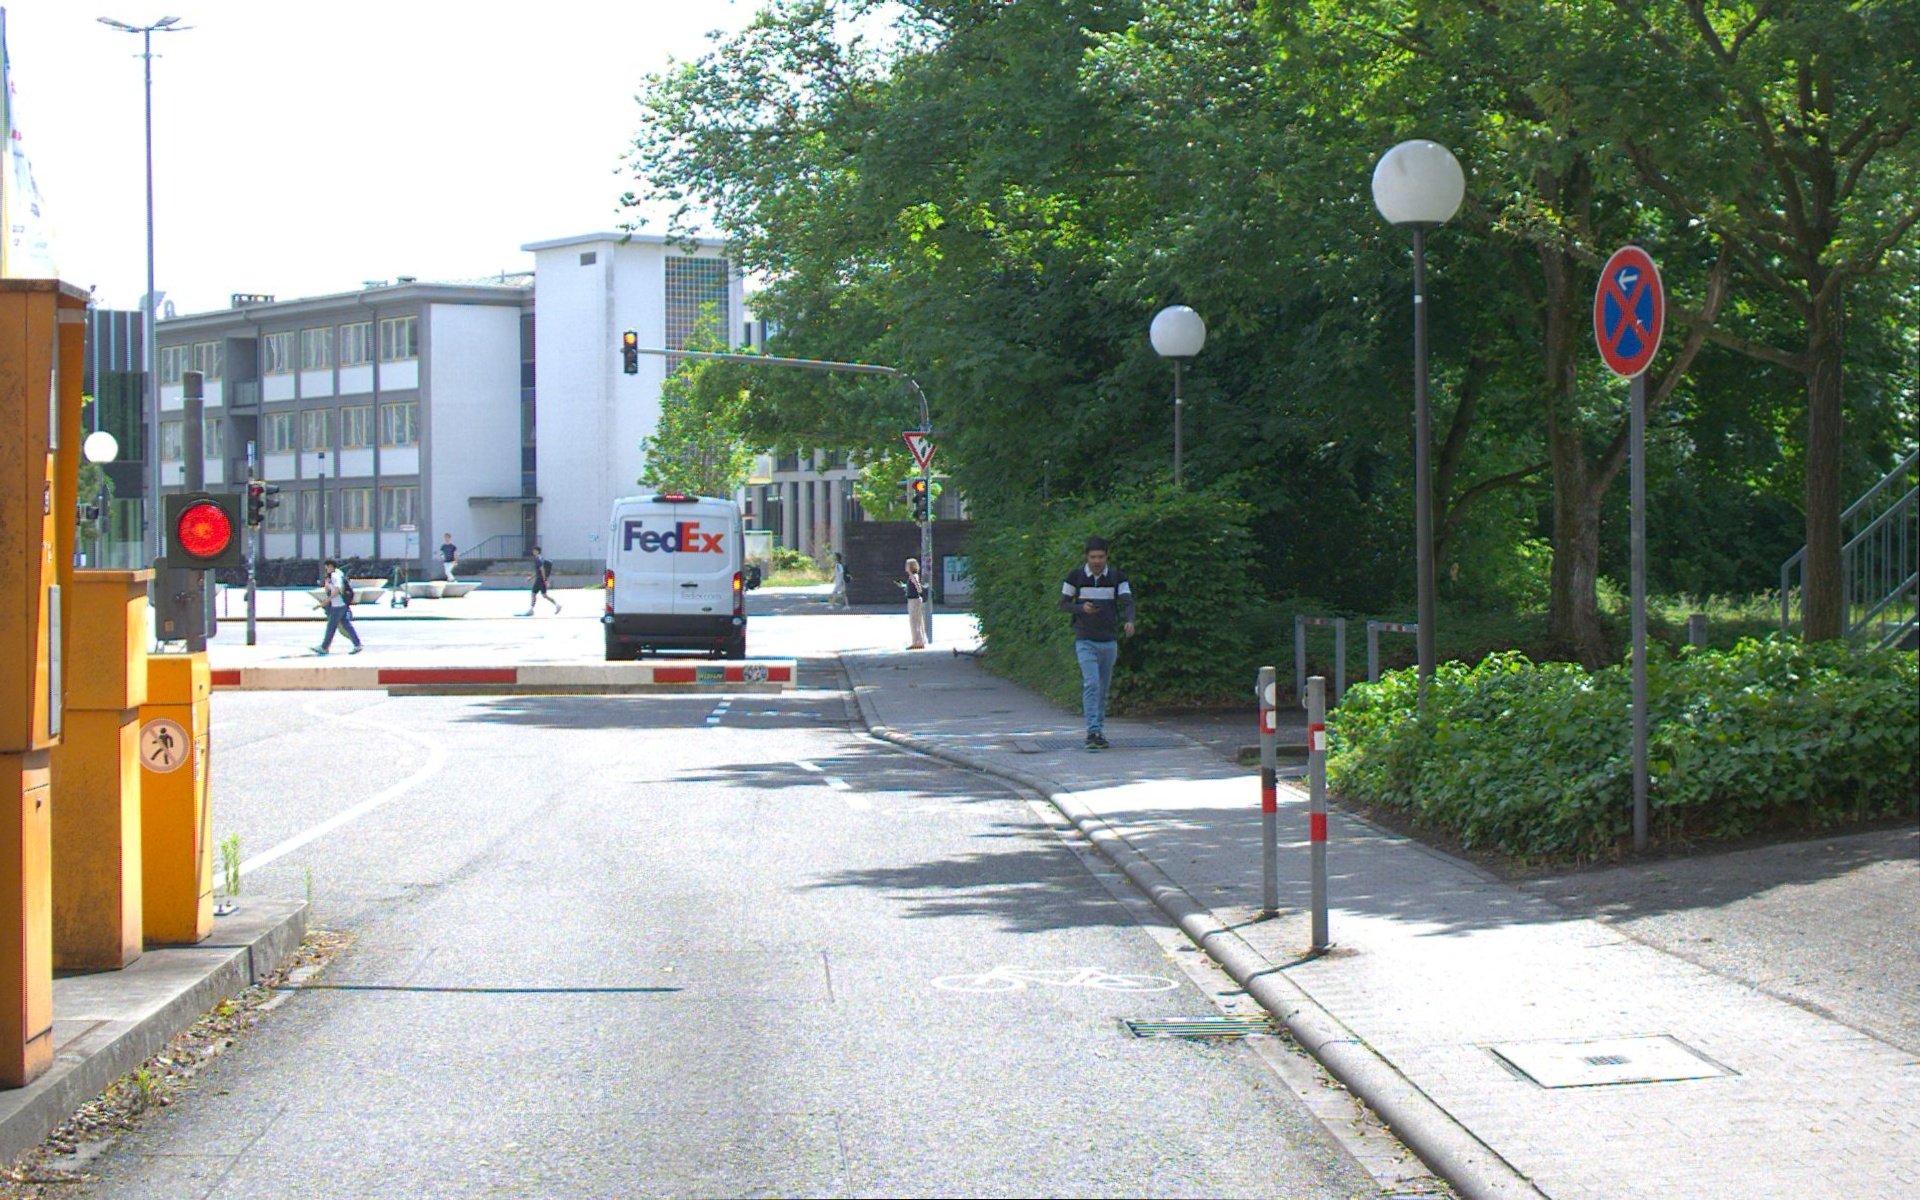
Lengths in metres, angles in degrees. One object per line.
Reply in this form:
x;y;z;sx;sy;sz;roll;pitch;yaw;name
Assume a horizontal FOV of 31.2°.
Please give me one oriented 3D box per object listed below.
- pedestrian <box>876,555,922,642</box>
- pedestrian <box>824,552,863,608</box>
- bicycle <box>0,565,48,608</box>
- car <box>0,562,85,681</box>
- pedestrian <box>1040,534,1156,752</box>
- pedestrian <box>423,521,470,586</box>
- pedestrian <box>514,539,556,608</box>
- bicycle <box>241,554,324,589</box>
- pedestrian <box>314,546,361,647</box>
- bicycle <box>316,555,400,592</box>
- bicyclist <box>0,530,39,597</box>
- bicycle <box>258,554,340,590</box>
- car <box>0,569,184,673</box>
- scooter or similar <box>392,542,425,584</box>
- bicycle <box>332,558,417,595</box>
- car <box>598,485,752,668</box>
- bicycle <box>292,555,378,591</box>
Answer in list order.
-1.107;-0.027;62.452;0.731;1.570;0.776;1;1;-7;pedestrian
-3.204;-0.561;94.421;0.824;1.518;0.815;-1;1;-22;pedestrian
-25.792;-0.376;94.360;0.771;1.118;2.026;-1;1;7;bicycle
-12.862;0.246;45.459;1.676;1.462;3.911;2;1;-2;car
1.072;0.319;26.992;0.739;1.669;1.257;0;1;-6;pedestrian
-16.171;-1.462;108.309;1.141;2.007;1.155;0;1;12;pedestrian
-11.625;-0.723;94.030;1.080;1.864;0.832;-1;1;-4;pedestrian
-26.337;-1.095;133.664;2.957;1.359;1.117;0;1;-40;bicycle
-11.465;-0.074;63.330;0.719;1.853;0.770;0;1;-1;pedestrian
-22.624;-0.998;129.299;2.957;1.359;1.117;0;1;-40;bicycle
-25.812;-1.005;94.181;0.789;1.811;0.999;-1;1;7;bicyclist
-25.499;-1.083;132.638;2.957;1.359;1.117;0;1;-40;bicycle
-12.726;0.269;50.576;1.676;1.390;4.663;2;1;-2;car
-15.407;-1.036;95.979;0.716;1.174;2.726;0;1;-13;scooter or similar
-21.833;-0.878;128.229;2.957;1.359;1.117;0;1;-40;bicycle
-4.192;-0.387;51.336;2.095;2.558;5.603;-1;1;-3;car
-23.728;-1.016;130.523;2.957;1.359;1.275;0;1;-40;bicycle
